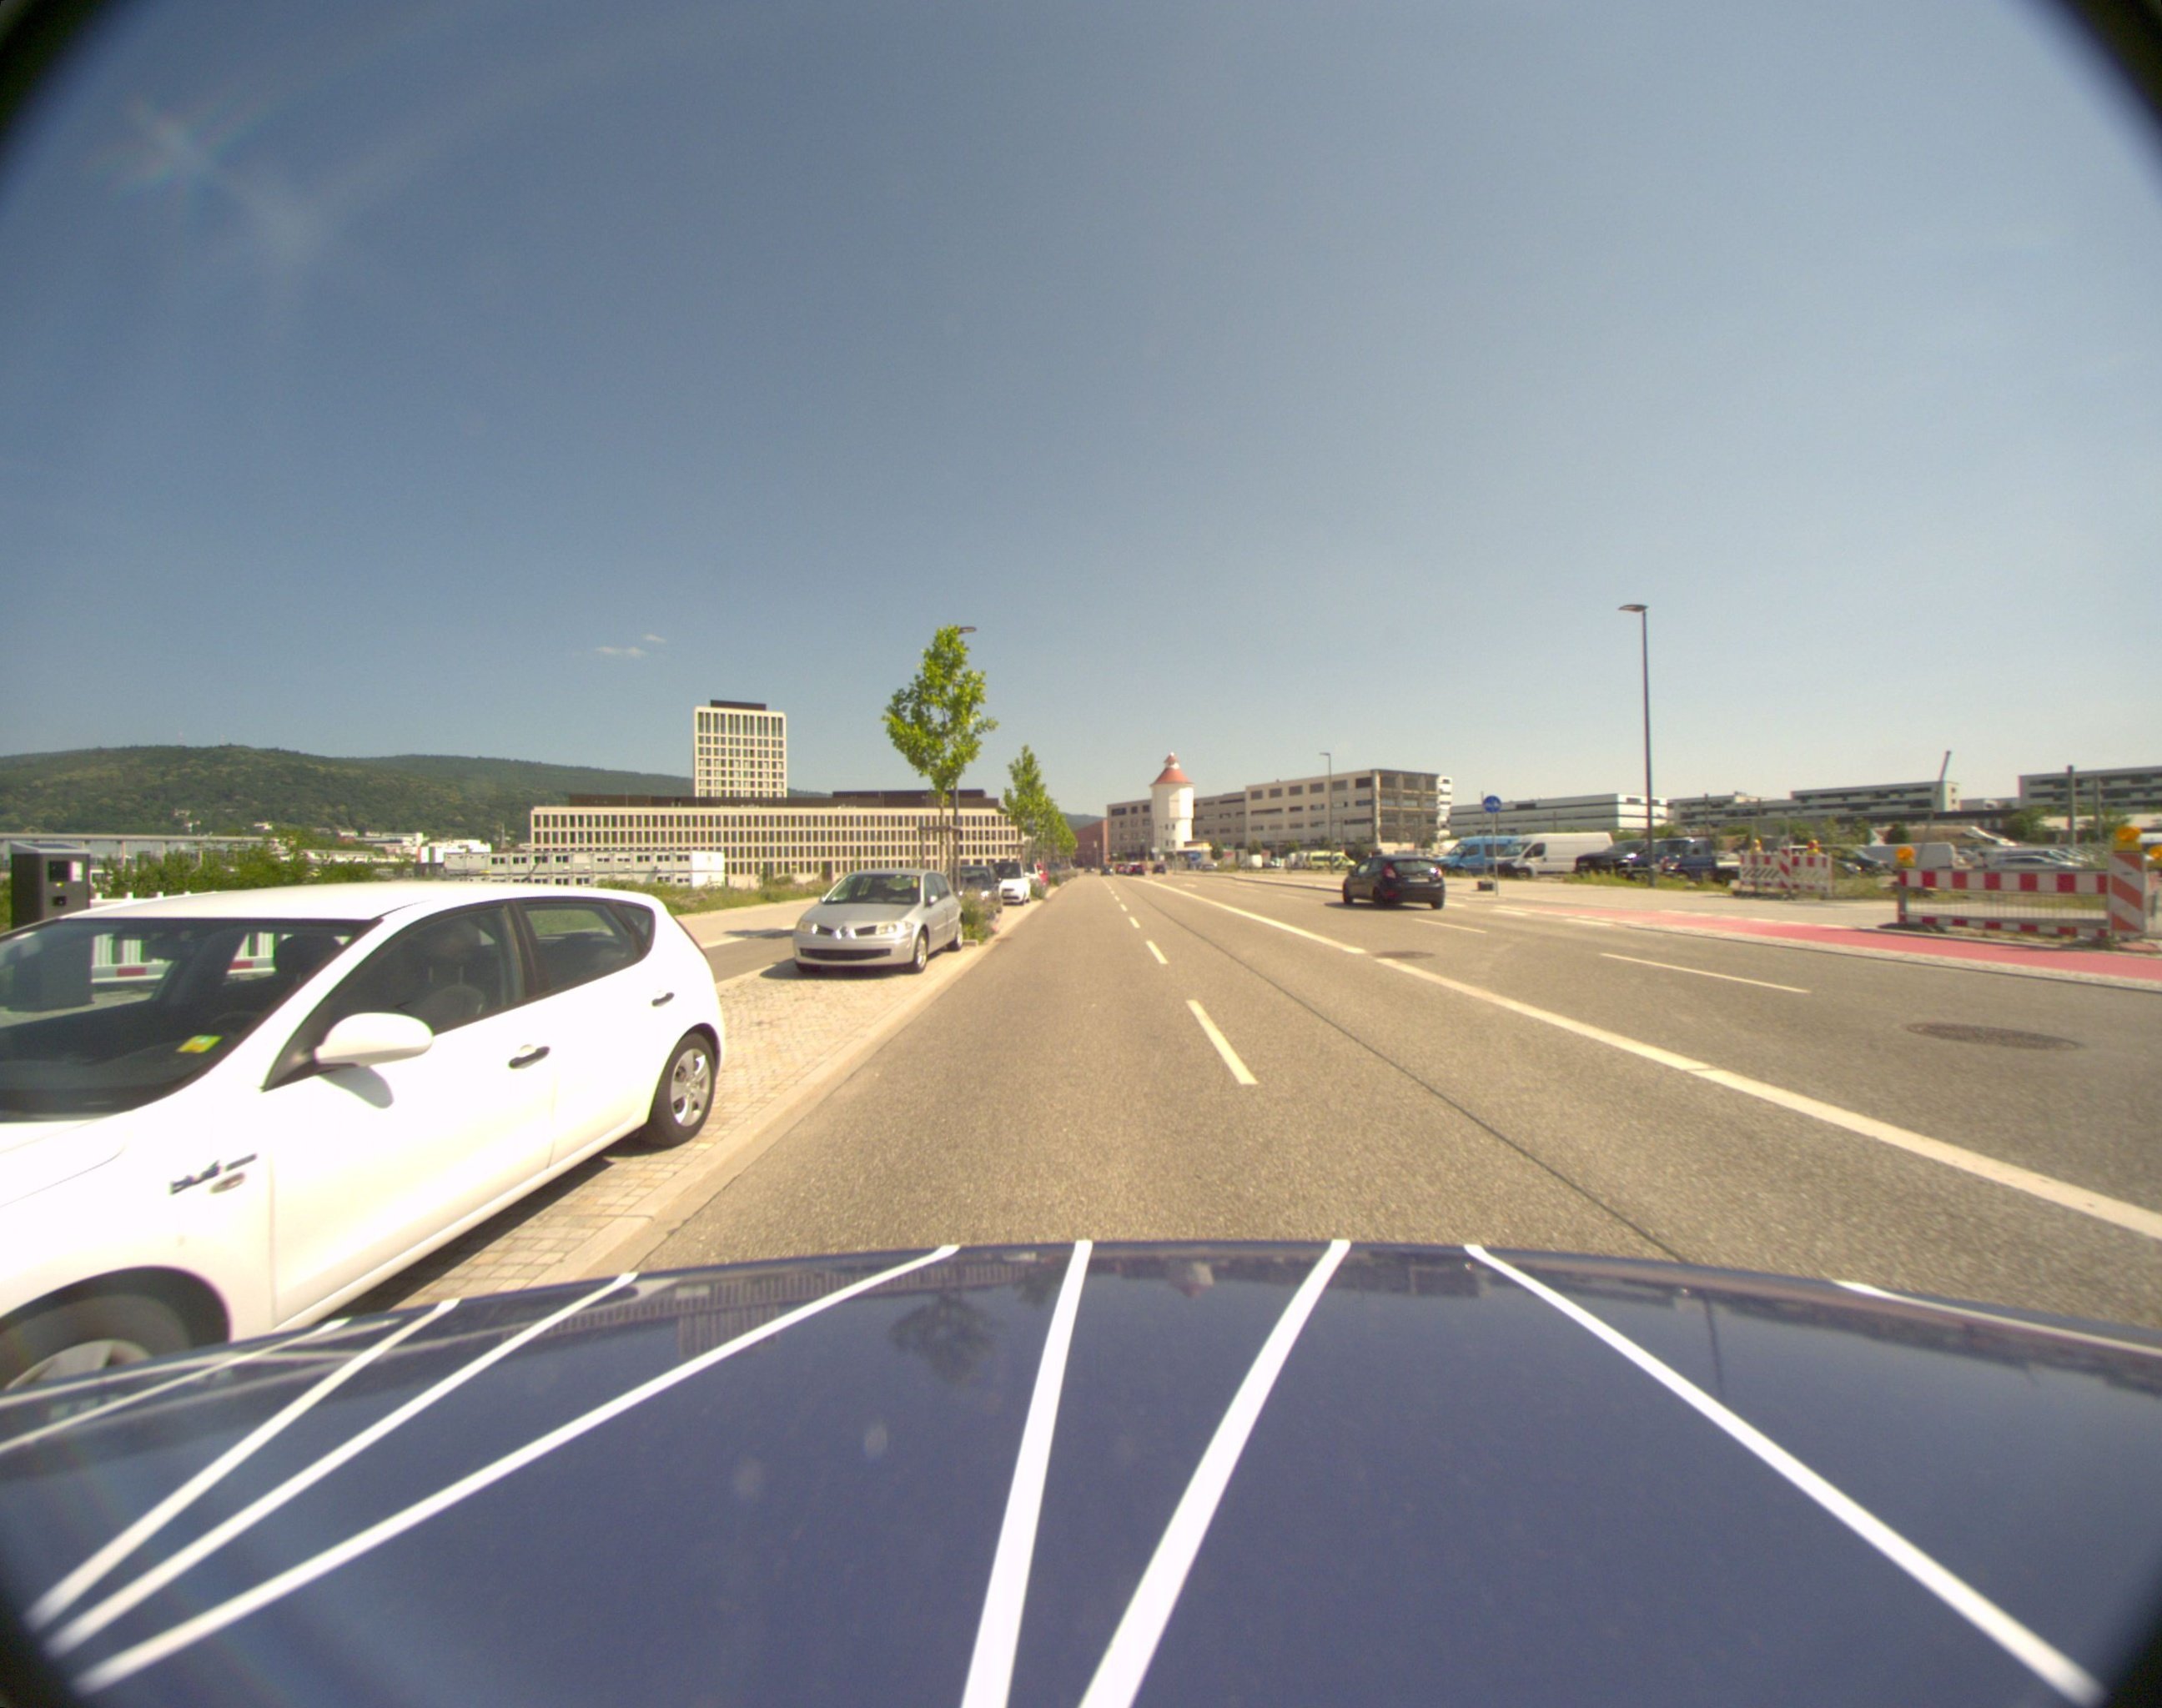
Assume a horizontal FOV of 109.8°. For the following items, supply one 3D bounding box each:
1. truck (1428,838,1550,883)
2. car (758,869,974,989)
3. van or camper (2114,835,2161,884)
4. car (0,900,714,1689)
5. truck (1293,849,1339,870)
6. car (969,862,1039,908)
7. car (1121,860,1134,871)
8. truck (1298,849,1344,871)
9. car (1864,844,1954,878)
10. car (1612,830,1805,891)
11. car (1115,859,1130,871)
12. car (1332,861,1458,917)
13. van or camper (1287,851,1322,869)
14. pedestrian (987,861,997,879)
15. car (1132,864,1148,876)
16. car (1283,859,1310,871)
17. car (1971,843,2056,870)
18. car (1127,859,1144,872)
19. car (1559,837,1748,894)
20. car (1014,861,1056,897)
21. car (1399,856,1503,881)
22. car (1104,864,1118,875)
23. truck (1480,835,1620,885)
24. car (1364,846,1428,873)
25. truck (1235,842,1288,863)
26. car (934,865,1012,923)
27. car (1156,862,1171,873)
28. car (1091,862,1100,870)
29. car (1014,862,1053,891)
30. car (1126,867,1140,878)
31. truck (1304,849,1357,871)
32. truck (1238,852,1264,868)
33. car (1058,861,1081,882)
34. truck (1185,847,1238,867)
[{"bbox_3d":[24.218,0.398,45.243,6.019,2.528,2.275,-1,0,1],"label":"truck"},{"bbox_3d":[-3.067,1.014,11.836,1.913,1.470,4.159,-1,0,4],"label":"car"},{"bbox_3d":[58.302,0.297,41.441,5.941,2.543,1.931,0,-1,-40],"label":"van or camper"},{"bbox_3d":[-3.073,0.974,2.512,1.750,1.500,4.002,0,-1,0],"label":"car"},{"bbox_3d":[36.216,0.766,117.248,6.160,2.884,2.570,-3,1,2],"label":"truck"},{"bbox_3d":[-2.774,1.096,28.324,1.913,1.568,4.159,-1,0,4],"label":"car"},{"bbox_3d":[7.197,1.813,118.106,1.783,1.672,4.100,1,-1,0],"label":"car"},{"bbox_3d":[35.490,0.883,112.470,5.850,2.808,2.570,-3,1,0],"label":"truck"},{"bbox_3d":[57.956,0.494,53.240,2.004,2.227,3.990,-1,0,-34],"label":"car"},{"bbox_3d":[23.669,0.238,28.824,5.458,2.160,2.395,-1,-1,-3],"label":"car"},{"bbox_3d":[6.870,1.800,125.876,1.944,1.778,4.655,-1,0,-2],"label":"car"},{"bbox_3d":[8.519,0.892,21.092,1.708,1.344,4.456,-1,0,1],"label":"car"},{"bbox_3d":[35.773,0.979,121.632,4.912,2.645,2.260,-2,-1,1],"label":"van or camper"},{"bbox_3d":[-8.640,1.581,73.657,0.782,1.695,0.742,-1,0,1],"label":"pedestrian"},{"bbox_3d":[7.229,1.966,93.331,1.791,1.390,4.572,-1,0,2],"label":"car"},{"bbox_3d":[35.528,1.824,125.504,3.876,1.748,1.657,-2,-1,-3],"label":"car"},{"bbox_3d":[75.230,0.244,61.333,2.003,2.001,3.992,-2,-1,-28],"label":"car"},{"bbox_3d":[7.201,1.497,100.605,1.918,1.640,4.731,-1,0,1],"label":"car"},{"bbox_3d":[23.464,0.469,31.349,5.896,2.153,2.396,-1,0,2],"label":"car"},{"bbox_3d":[-2.158,1.141,36.210,1.722,1.516,3.642,1,1,1],"label":"car"},{"bbox_3d":[23.612,0.928,48.667,5.666,1.465,2.107,-1,0,-1],"label":"car"},{"bbox_3d":[4.139,2.154,105.816,1.783,1.552,3.832,-1,0,0],"label":"car"},{"bbox_3d":[23.362,0.315,38.034,5.581,2.348,2.275,-1,0,-1],"label":"truck"},{"bbox_3d":[22.837,0.423,55.179,3.994,1.892,1.829,-1,-1,8],"label":"car"},{"bbox_3d":[40.513,-0.410,170.494,10.951,4.251,3.341,-3,1,-10],"label":"truck"},{"bbox_3d":[-3.011,1.082,22.052,1.794,1.468,4.371,-1,0,-2],"label":"car"},{"bbox_3d":[13.059,2.143,120.387,1.907,1.618,4.388,-1,-1,1],"label":"car"},{"bbox_3d":[2.937,2.416,157.362,1.783,1.552,3.833,-1,0,2],"label":"car"},{"bbox_3d":[-2.486,1.197,40.573,1.722,1.442,4.001,-3,-2,1],"label":"car"},{"bbox_3d":[7.503,2.672,110.817,1.790,1.413,4.282,-1,0,1],"label":"car"},{"bbox_3d":[35.852,0.893,109.408,6.654,2.808,2.602,-2,-1,-2],"label":"truck"},{"bbox_3d":[30.822,1.094,137.753,2.174,2.639,5.938,-1,0,-14],"label":"truck"},{"bbox_3d":[-0.863,1.376,59.910,1.739,1.599,4.241,0,-1,0],"label":"car"},{"bbox_3d":[28.829,0.627,167.760,10.987,4.044,3.297,-3,1,-17],"label":"truck"}]
